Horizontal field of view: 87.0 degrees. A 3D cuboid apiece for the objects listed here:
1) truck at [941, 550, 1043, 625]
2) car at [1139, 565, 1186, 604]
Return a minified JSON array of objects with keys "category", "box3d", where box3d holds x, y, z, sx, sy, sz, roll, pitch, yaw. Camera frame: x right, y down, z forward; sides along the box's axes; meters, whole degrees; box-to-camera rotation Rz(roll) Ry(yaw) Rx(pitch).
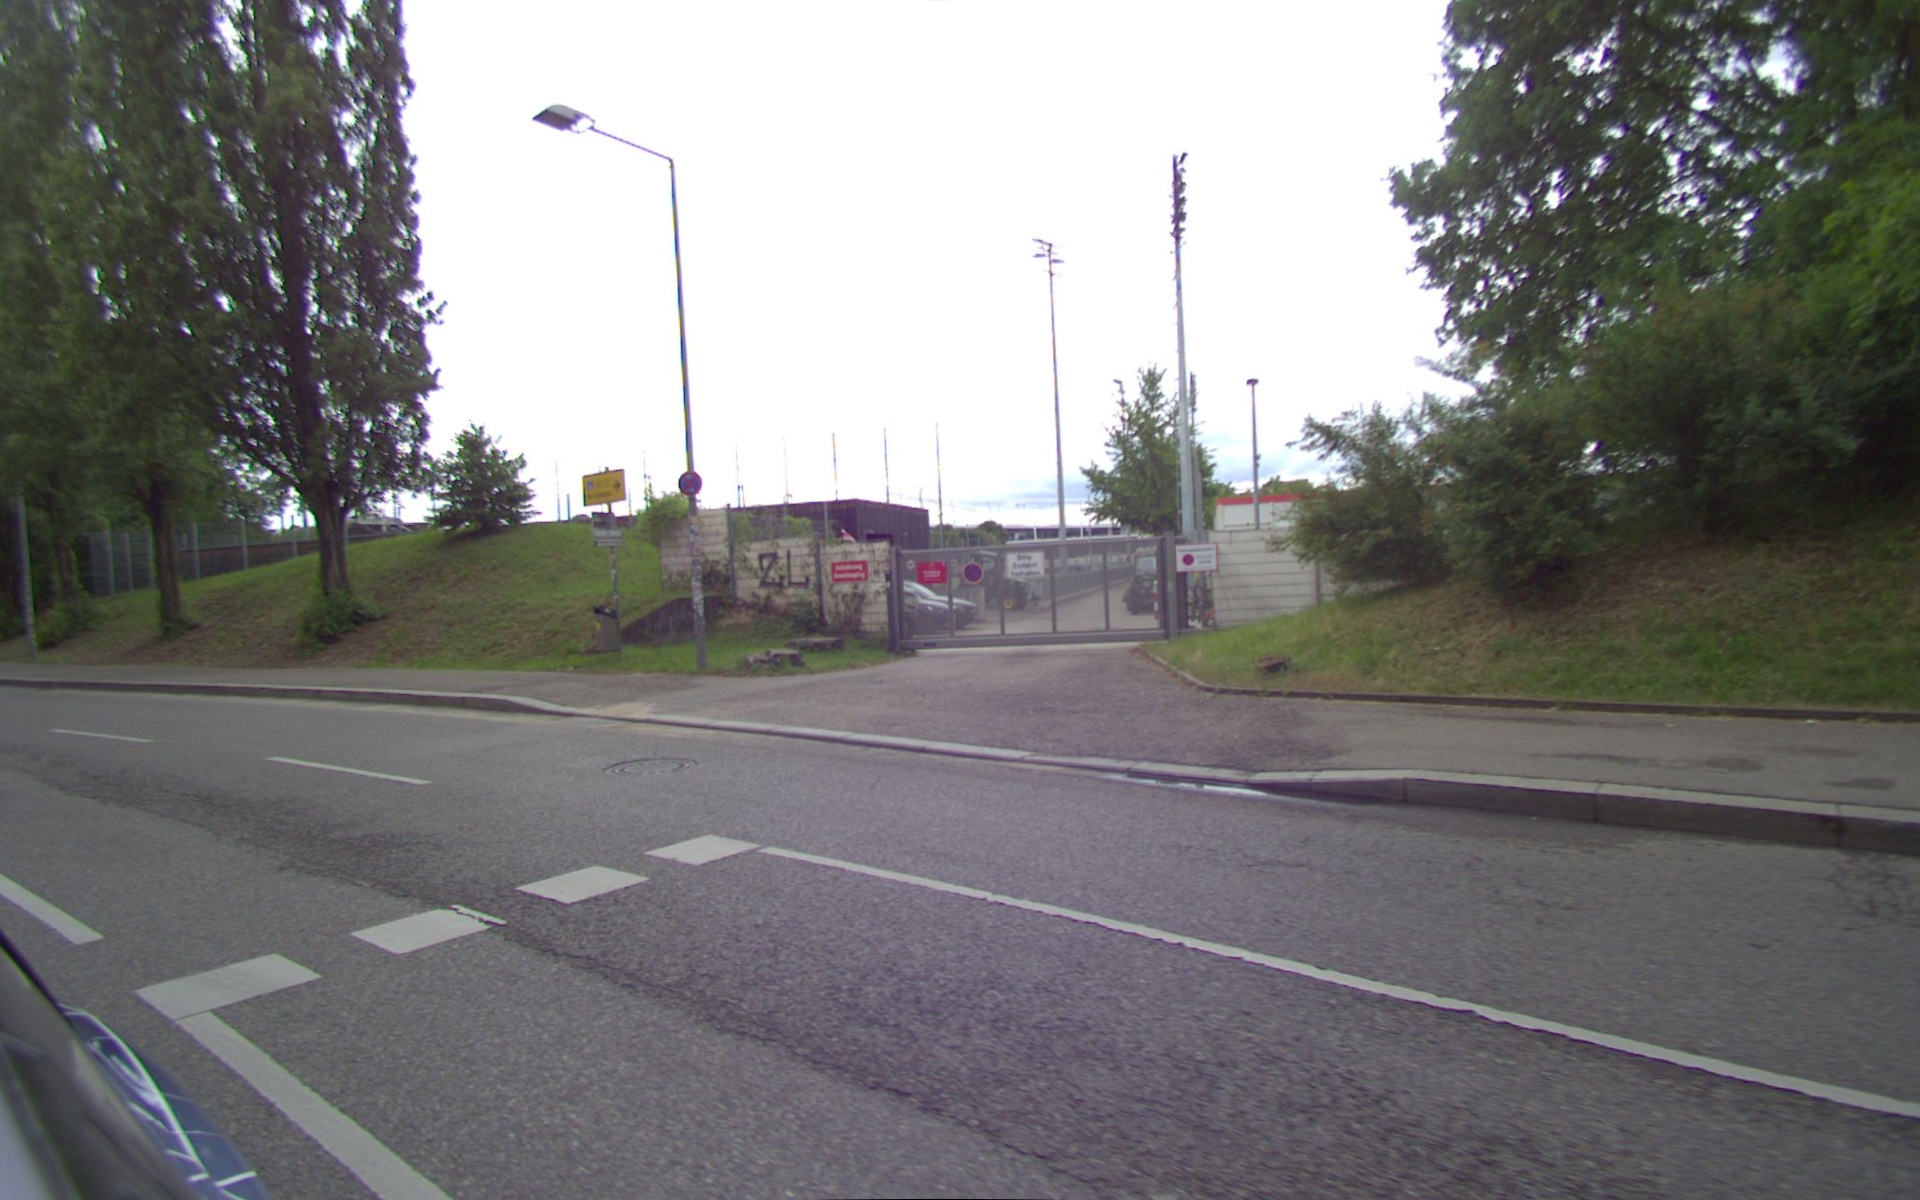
[{"category":"truck","box3d":[1.387,-0.521,43.073,4.061,3.031,1.816,-2,0,11]},{"category":"car","box3d":[9.459,-0.710,47.061,1.867,1.643,4.191,-2,0,15]}]
